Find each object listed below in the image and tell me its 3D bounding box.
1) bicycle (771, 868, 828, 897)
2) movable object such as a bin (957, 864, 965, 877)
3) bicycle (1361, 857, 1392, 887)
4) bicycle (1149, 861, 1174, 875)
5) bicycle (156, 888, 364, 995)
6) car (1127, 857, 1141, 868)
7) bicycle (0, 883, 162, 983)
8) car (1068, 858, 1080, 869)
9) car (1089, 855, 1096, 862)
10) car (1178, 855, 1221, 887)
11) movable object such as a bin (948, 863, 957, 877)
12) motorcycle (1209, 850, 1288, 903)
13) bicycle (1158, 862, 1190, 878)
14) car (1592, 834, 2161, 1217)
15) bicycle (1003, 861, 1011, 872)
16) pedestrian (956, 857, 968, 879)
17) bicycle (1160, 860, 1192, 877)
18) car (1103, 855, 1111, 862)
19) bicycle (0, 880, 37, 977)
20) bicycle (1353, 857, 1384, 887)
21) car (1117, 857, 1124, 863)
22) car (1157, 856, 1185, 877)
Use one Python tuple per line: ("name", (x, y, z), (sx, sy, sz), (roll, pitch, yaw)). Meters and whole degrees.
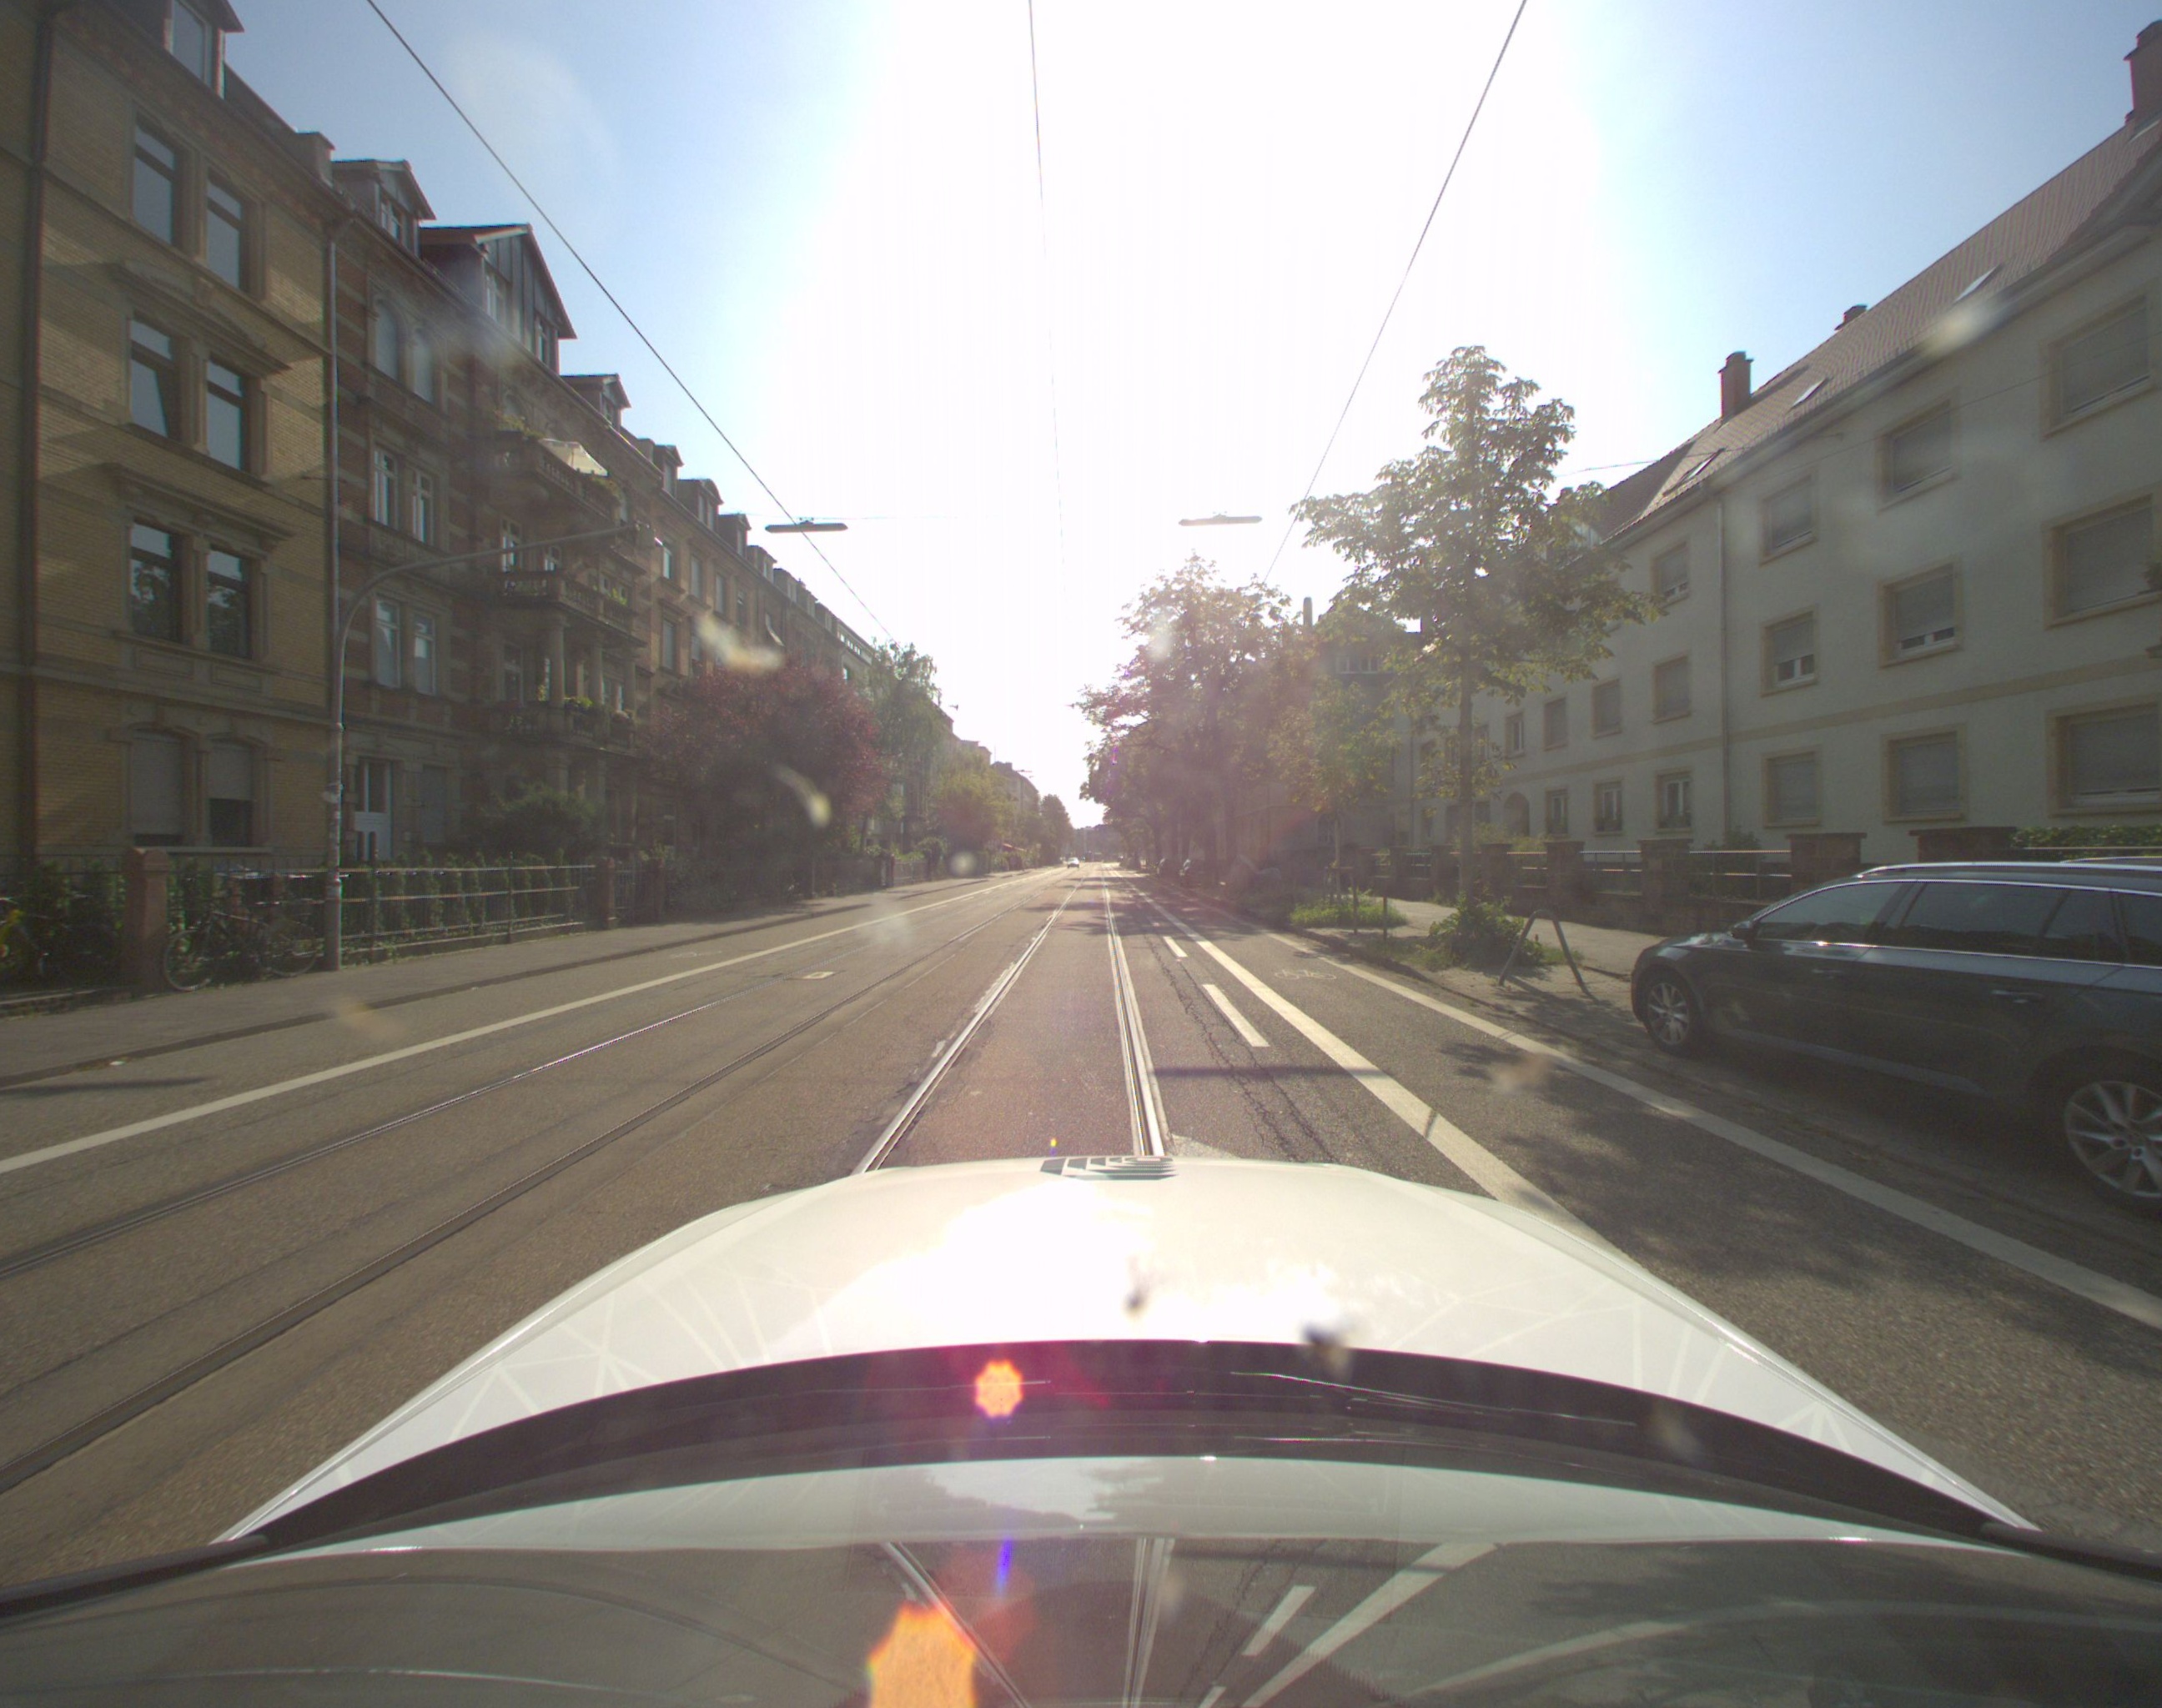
("bicycle", (-11.148, 1.142, 32.277), (2.010, 1.104, 0.588), (-1, -1, -2))
("movable object such as a bin", (-9.527, 1.307, 64.679), (0.630, 1.078, 0.703), (-1, -1, -5))
("bicycle", (11.367, 0.658, 31.370), (0.423, 1.104, 1.999), (-1, 0, -1))
("bicycle", (6.956, 1.207, 70.569), (2.100, 1.105, 0.616), (-2, -1, 0))
("bicycle", (-10.040, 1.018, 10.089), (0.506, 1.108, 2.004), (-1, 0, 2))
("car", (7.638, 1.268, 117.444), (1.765, 1.473, 3.975), (-1, -1, 1))
("bicycle", (-11.193, 0.873, 9.071), (1.354, 1.060, 0.417), (1, -1, -2))
("car", (-1.098, 1.379, 124.461), (1.720, 1.638, 3.985), (-1, 0, 1))
("car", (3.494, 1.379, 254.683), (1.985, 2.014, 4.004), (1, 0, 4))
("car", (6.199, 0.875, 43.070), (1.720, 1.504, 3.985), (-2, -1, 1))
("movable object such as a bin", (-10.196, 1.296, 64.614), (0.589, 1.078, 0.703), (-1, -1, -5))
("motorcycle", (5.578, 0.748, 27.243), (0.919, 1.674, 2.390), (-3, 0, -45))
("bicycle", (6.430, 1.106, 56.425), (2.104, 1.105, 0.562), (-1, -1, -6))
("car", (5.314, 0.690, 4.793), (1.737, 1.561, 4.721), (-1, 0, 2))
("bicycle", (-8.325, 1.349, 91.337), (0.559, 1.221, 2.115), (-1, 0, 3))
("pedestrian", (-8.793, 1.007, 60.228), (0.749, 1.591, 0.878), (-1, -1, 2))
("bicycle", (6.522, 1.003, 55.907), (2.104, 1.105, 0.562), (-1, -1, -6))
("car", (7.504, 1.360, 236.289), (1.984, 2.014, 4.005), (1, 0, 4))
("bicycle", (-12.576, 0.838, 9.045), (1.354, 1.060, 0.417), (-1, -1, -2))
("bicycle", (11.067, 0.665, 31.398), (0.423, 1.104, 1.999), (-1, 0, -1))
("car", (11.867, 1.821, 243.968), (1.984, 1.783, 4.006), (1, 0, 6))
("car", (6.605, 0.941, 60.095), (1.765, 1.473, 3.975), (-1, -1, 1))
